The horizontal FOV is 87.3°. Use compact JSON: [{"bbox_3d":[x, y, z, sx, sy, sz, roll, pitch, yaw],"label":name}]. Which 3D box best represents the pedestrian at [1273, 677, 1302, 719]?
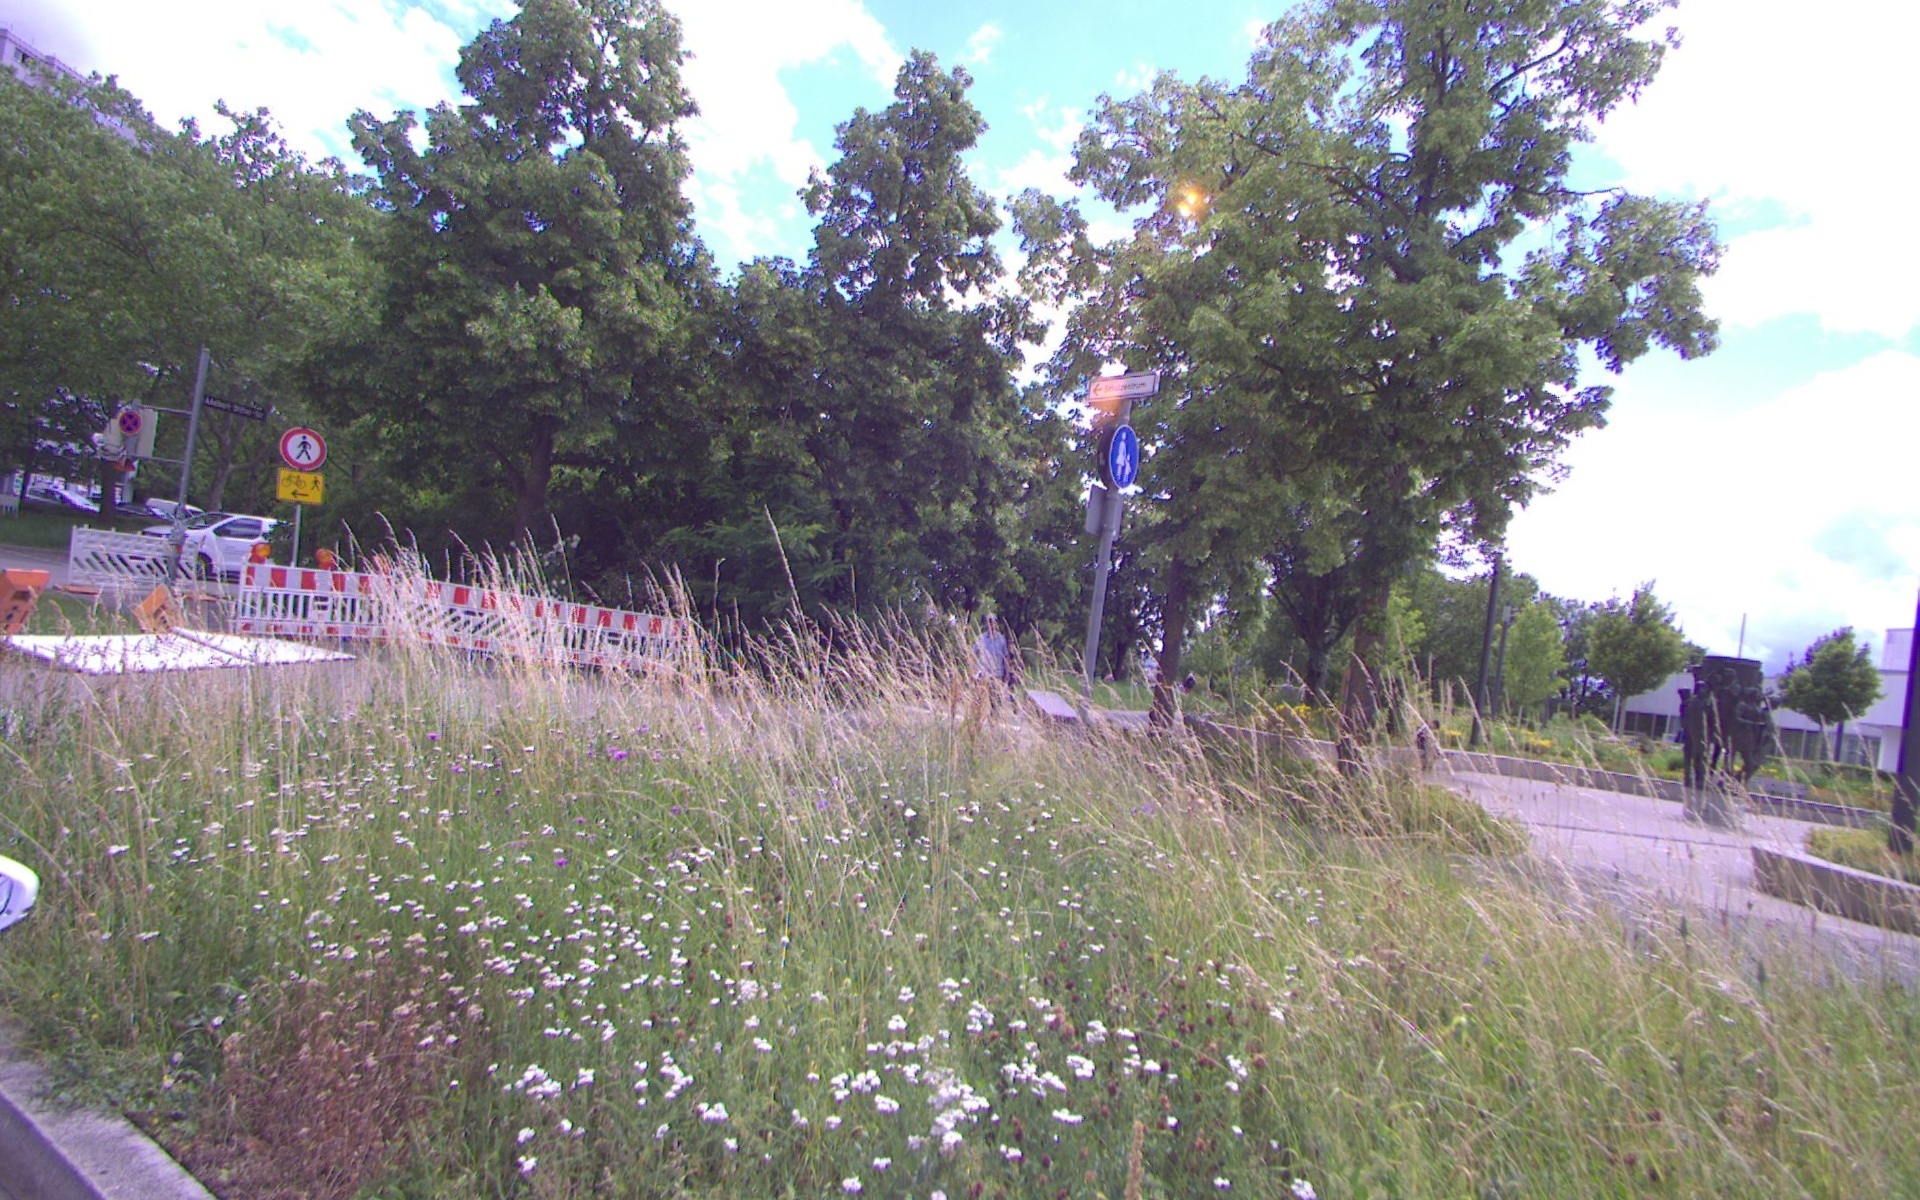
[{"bbox_3d":[14.598,4.376,44.835,0.879,1.732,0.817,8,-1,30],"label":"pedestrian"}]

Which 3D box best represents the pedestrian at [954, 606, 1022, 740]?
[{"bbox_3d":[0.428,1.086,15.137,0.758,1.862,0.765,7,-1,2],"label":"pedestrian"}]

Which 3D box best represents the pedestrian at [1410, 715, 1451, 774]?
[{"bbox_3d":[10.822,3.311,23.120,0.623,1.236,0.618,7,-1,36],"label":"pedestrian"}]

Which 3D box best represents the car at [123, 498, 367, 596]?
[{"bbox_3d":[-19.722,-1.390,28.055,1.915,1.895,5.090,7,-2,28],"label":"car"}]

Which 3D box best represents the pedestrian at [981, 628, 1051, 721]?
[{"bbox_3d":[1.093,1.444,19.458,0.879,1.647,0.817,8,-1,30],"label":"pedestrian"}]

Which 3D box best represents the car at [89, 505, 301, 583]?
[{"bbox_3d":[-22.441,-1.593,29.709,1.955,1.503,4.486,7,-2,30],"label":"car"}]

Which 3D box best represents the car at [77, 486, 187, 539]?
[{"bbox_3d":[-43.795,-4.607,53.289,3.926,2.037,2.001,8,-1,0],"label":"car"}]

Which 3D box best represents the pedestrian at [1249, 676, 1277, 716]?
[{"bbox_3d":[13.730,4.359,45.545,0.872,1.681,0.817,8,-1,30],"label":"pedestrian"}]

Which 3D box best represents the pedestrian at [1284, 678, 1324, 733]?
[{"bbox_3d":[13.878,4.241,40.553,1.137,2.037,0.817,8,0,30],"label":"pedestrian"}]

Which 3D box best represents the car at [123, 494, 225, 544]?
[{"bbox_3d":[-44.250,-4.534,56.692,3.926,2.037,2.001,8,-1,0],"label":"car"}]

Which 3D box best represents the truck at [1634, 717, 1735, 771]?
[{"bbox_3d":[37.312,7.389,51.932,1.965,2.037,3.999,8,-1,-4],"label":"truck"}]

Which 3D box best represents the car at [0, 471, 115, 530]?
[{"bbox_3d":[-43.700,-4.783,48.572,3.926,2.037,2.001,8,-1,0],"label":"car"}]
